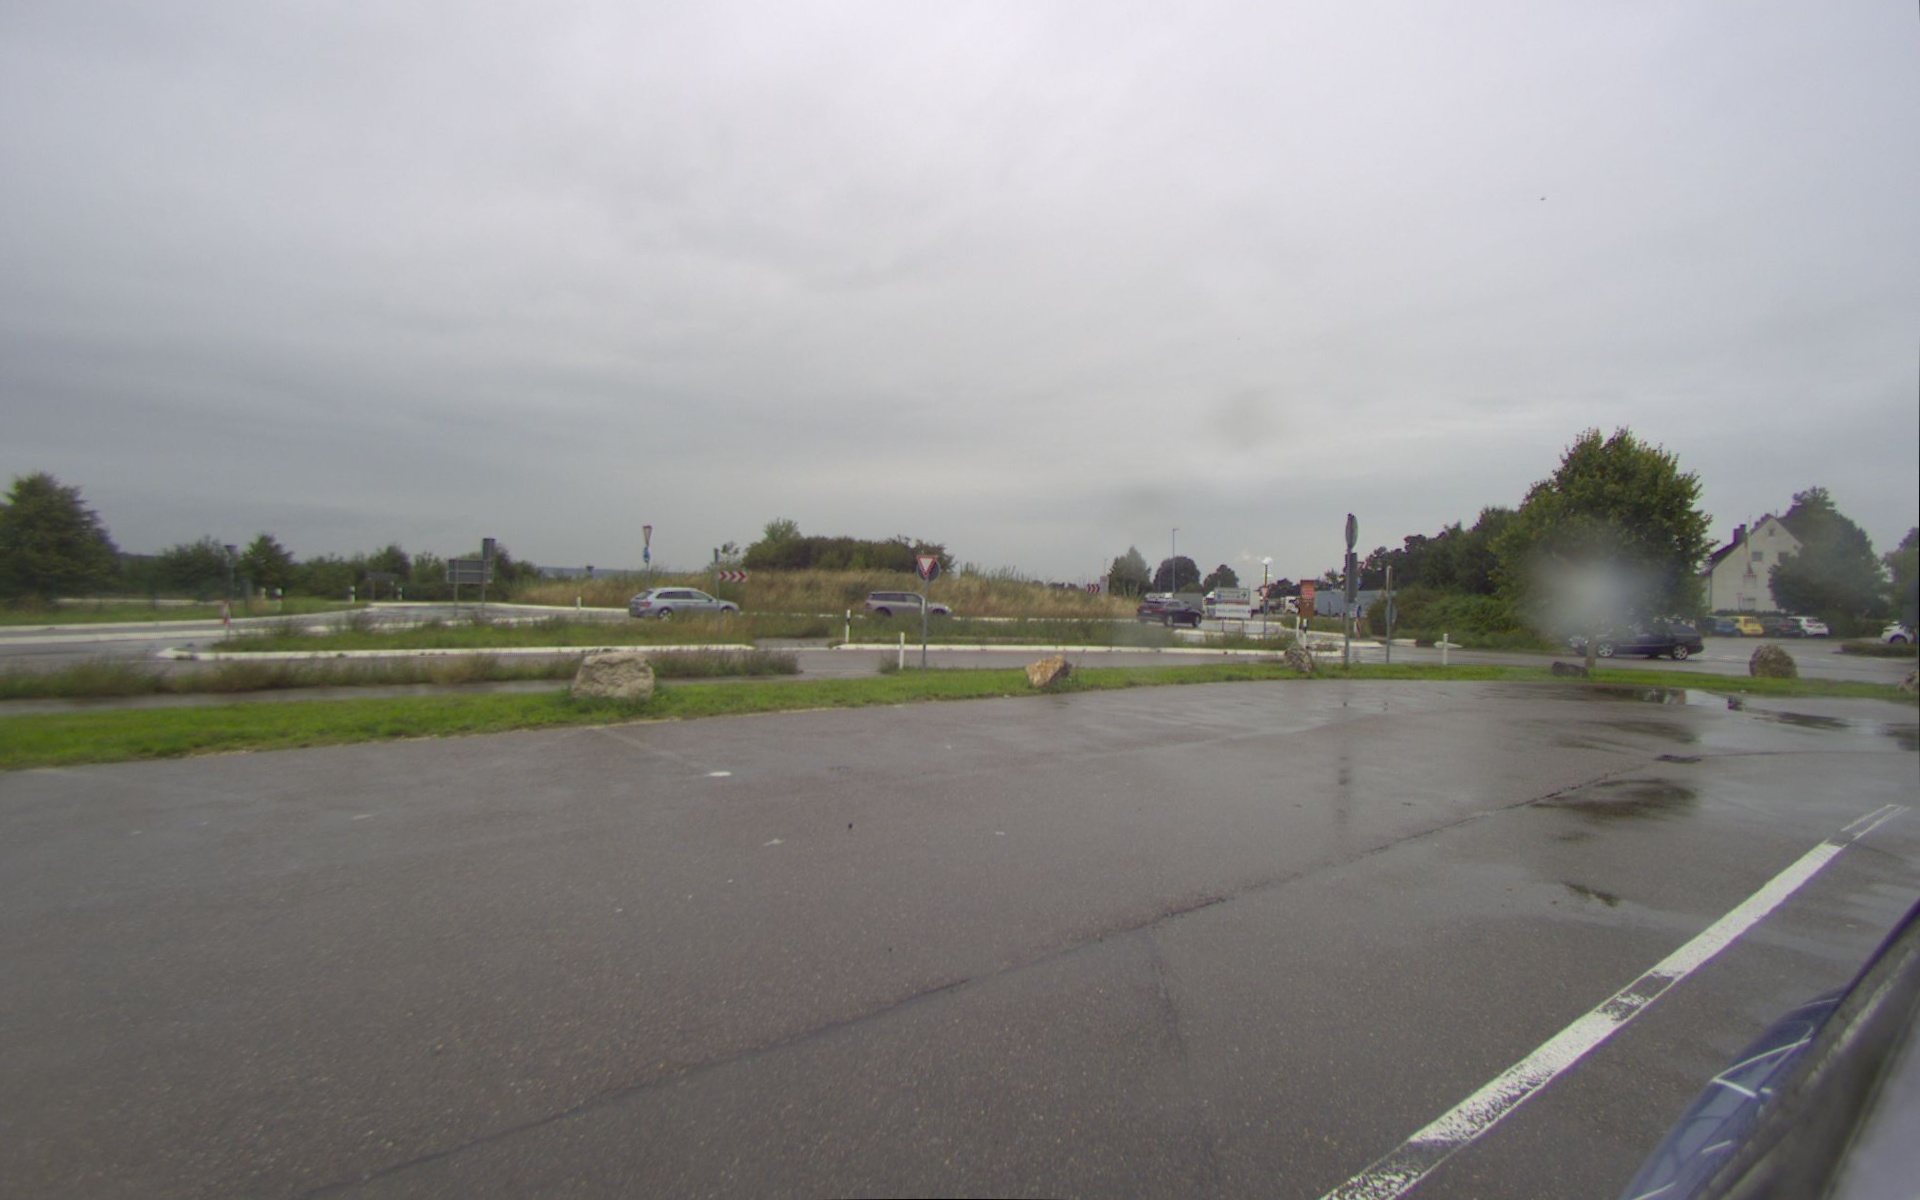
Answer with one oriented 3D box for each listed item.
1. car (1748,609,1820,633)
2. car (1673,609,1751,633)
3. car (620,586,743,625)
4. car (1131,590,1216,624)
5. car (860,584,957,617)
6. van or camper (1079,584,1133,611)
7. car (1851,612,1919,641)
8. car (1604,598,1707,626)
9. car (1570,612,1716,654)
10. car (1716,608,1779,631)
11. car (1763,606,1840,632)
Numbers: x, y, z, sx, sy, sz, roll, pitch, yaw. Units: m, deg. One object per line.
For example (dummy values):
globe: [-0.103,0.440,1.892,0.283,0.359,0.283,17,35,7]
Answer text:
car: [57.844,1.459,71.136,1.715,1.590,3.891,1,0,-3]
car: [52.754,1.465,71.074,1.962,1.570,4.648,1,-1,-1]
car: [-11.798,0.249,42.977,4.577,1.500,1.999,2,1,-39]
car: [11.671,0.334,55.181,4.582,1.704,1.893,0,3,-35]
car: [-2.378,0.008,46.502,4.220,1.340,1.760,1,3,-9]
van or camper: [12.792,-0.234,88.946,1.960,2.038,4.854,2,2,-31]
car: [51.317,1.458,54.893,1.819,1.443,4.350,1,0,-44]
car: [46.158,0.780,67.259,1.966,1.744,5.366,2,-1,-42]
car: [25.769,1.219,38.299,4.283,1.443,1.704,1,0,5]
car: [55.432,1.370,71.331,1.635,1.569,3.724,1,0,2]
car: [59.845,1.306,72.045,1.951,1.750,4.003,1,0,-4]
